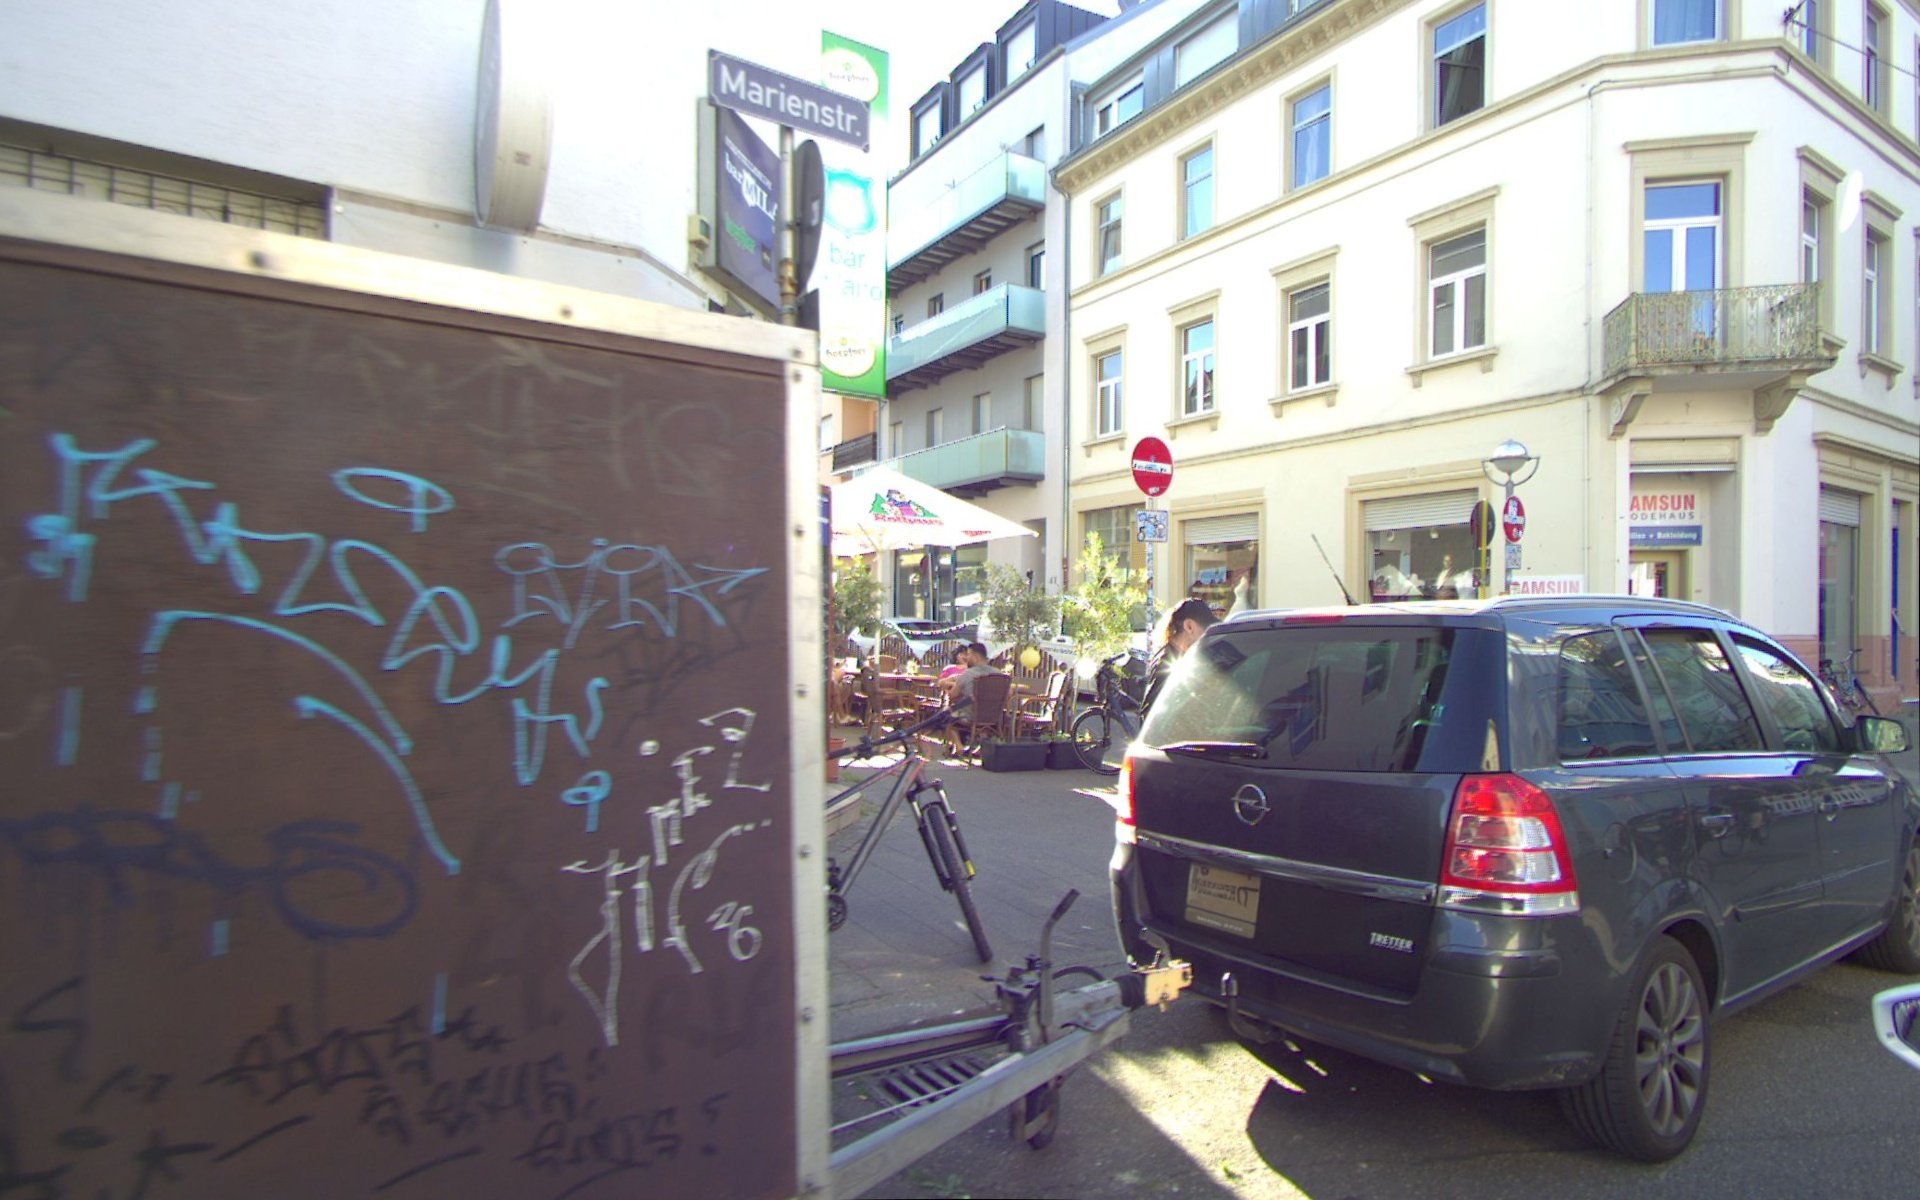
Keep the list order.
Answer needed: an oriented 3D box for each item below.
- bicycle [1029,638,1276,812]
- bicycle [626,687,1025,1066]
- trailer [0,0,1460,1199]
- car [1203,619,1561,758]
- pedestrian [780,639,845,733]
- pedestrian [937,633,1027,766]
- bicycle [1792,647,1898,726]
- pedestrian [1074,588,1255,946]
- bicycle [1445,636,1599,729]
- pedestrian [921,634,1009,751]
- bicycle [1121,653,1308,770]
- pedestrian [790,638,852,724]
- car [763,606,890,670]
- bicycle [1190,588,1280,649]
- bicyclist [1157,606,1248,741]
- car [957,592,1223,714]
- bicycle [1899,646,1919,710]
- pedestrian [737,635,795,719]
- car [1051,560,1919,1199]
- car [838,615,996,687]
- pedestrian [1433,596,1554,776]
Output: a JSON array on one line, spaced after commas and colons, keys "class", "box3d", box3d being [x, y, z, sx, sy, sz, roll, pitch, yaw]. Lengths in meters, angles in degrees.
[{"class": "bicycle", "box3d": [1.732, 1.078, 9.559, 0.918, 1.377, 2.463, 1, -1, -31]}, {"class": "bicycle", "box3d": [-0.487, 0.964, 3.958, 1.448, 1.154, 0.572, 2, 0, -38]}, {"class": "trailer", "box3d": [-1.031, 0.506, 1.863, 4.320, 2.088, 1.651, 2, -3, -35]}, {"class": "car", "box3d": [5.364, 1.022, 13.287, 1.740, 1.475, 4.114, 1, -1, -33]}, {"class": "pedestrian", "box3d": [-1.953, 1.116, 13.261, 0.671, 1.170, 0.656, 2, 0, -23]}, {"class": "pedestrian", "box3d": [0.218, 1.003, 10.357, 0.652, 1.283, 0.683, 2, 0, -28]}, {"class": "bicycle", "box3d": [12.814, 1.235, 14.536, 1.798, 1.036, 0.600, 2, 2, -32]}, {"class": "pedestrian", "box3d": [1.021, 0.790, 5.092, 0.573, 1.666, 0.627, 3, -1, -25]}, {"class": "bicycle", "box3d": [7.984, 1.132, 14.376, 0.604, 1.164, 1.915, 2, 0, -25]}, {"class": "pedestrian", "box3d": [0.048, 1.065, 11.827, 0.697, 1.283, 0.844, 2, 0, -28]}, {"class": "bicycle", "box3d": [2.816, 1.197, 11.224, 1.904, 1.126, 0.708, 0, -1, 37]}, {"class": "pedestrian", "box3d": [-1.975, 1.136, 14.293, 0.646, 1.160, 0.689, 2, 0, 12]}, {"class": "car", "box3d": [-3.743, 0.964, 27.475, 1.753, 1.590, 4.371, 1, -1, -33]}, {"class": "bicycle", "box3d": [5.446, 0.352, 20.005, 0.604, 1.137, 1.915, 2, 0, -25]}, {"class": "bicyclist", "box3d": [2.730, 0.797, 11.288, 0.777, 1.455, 0.708, 0, -1, 37]}, {"class": "car", "box3d": [2.136, 0.833, 18.112, 1.839, 1.875, 5.051, 1, -1, -35]}, {"class": "bicycle", "box3d": [16.641, 1.314, 17.004, 1.798, 1.036, 0.618, 1, 2, -32]}, {"class": "pedestrian", "box3d": [-2.827, 1.114, 14.688, 0.646, 1.160, 0.543, 2, 0, 12]}, {"class": "car", "box3d": [2.512, 0.778, 4.135, 4.123, 1.626, 1.711, 1, -2, -34]}, {"class": "car", "box3d": [-1.055, 1.088, 22.768, 1.742, 1.429, 3.927, 1, -1, -35]}, {"class": "pedestrian", "box3d": [5.486, 0.843, 10.341, 0.855, 1.725, 0.689, -1, 5, -32]}]
